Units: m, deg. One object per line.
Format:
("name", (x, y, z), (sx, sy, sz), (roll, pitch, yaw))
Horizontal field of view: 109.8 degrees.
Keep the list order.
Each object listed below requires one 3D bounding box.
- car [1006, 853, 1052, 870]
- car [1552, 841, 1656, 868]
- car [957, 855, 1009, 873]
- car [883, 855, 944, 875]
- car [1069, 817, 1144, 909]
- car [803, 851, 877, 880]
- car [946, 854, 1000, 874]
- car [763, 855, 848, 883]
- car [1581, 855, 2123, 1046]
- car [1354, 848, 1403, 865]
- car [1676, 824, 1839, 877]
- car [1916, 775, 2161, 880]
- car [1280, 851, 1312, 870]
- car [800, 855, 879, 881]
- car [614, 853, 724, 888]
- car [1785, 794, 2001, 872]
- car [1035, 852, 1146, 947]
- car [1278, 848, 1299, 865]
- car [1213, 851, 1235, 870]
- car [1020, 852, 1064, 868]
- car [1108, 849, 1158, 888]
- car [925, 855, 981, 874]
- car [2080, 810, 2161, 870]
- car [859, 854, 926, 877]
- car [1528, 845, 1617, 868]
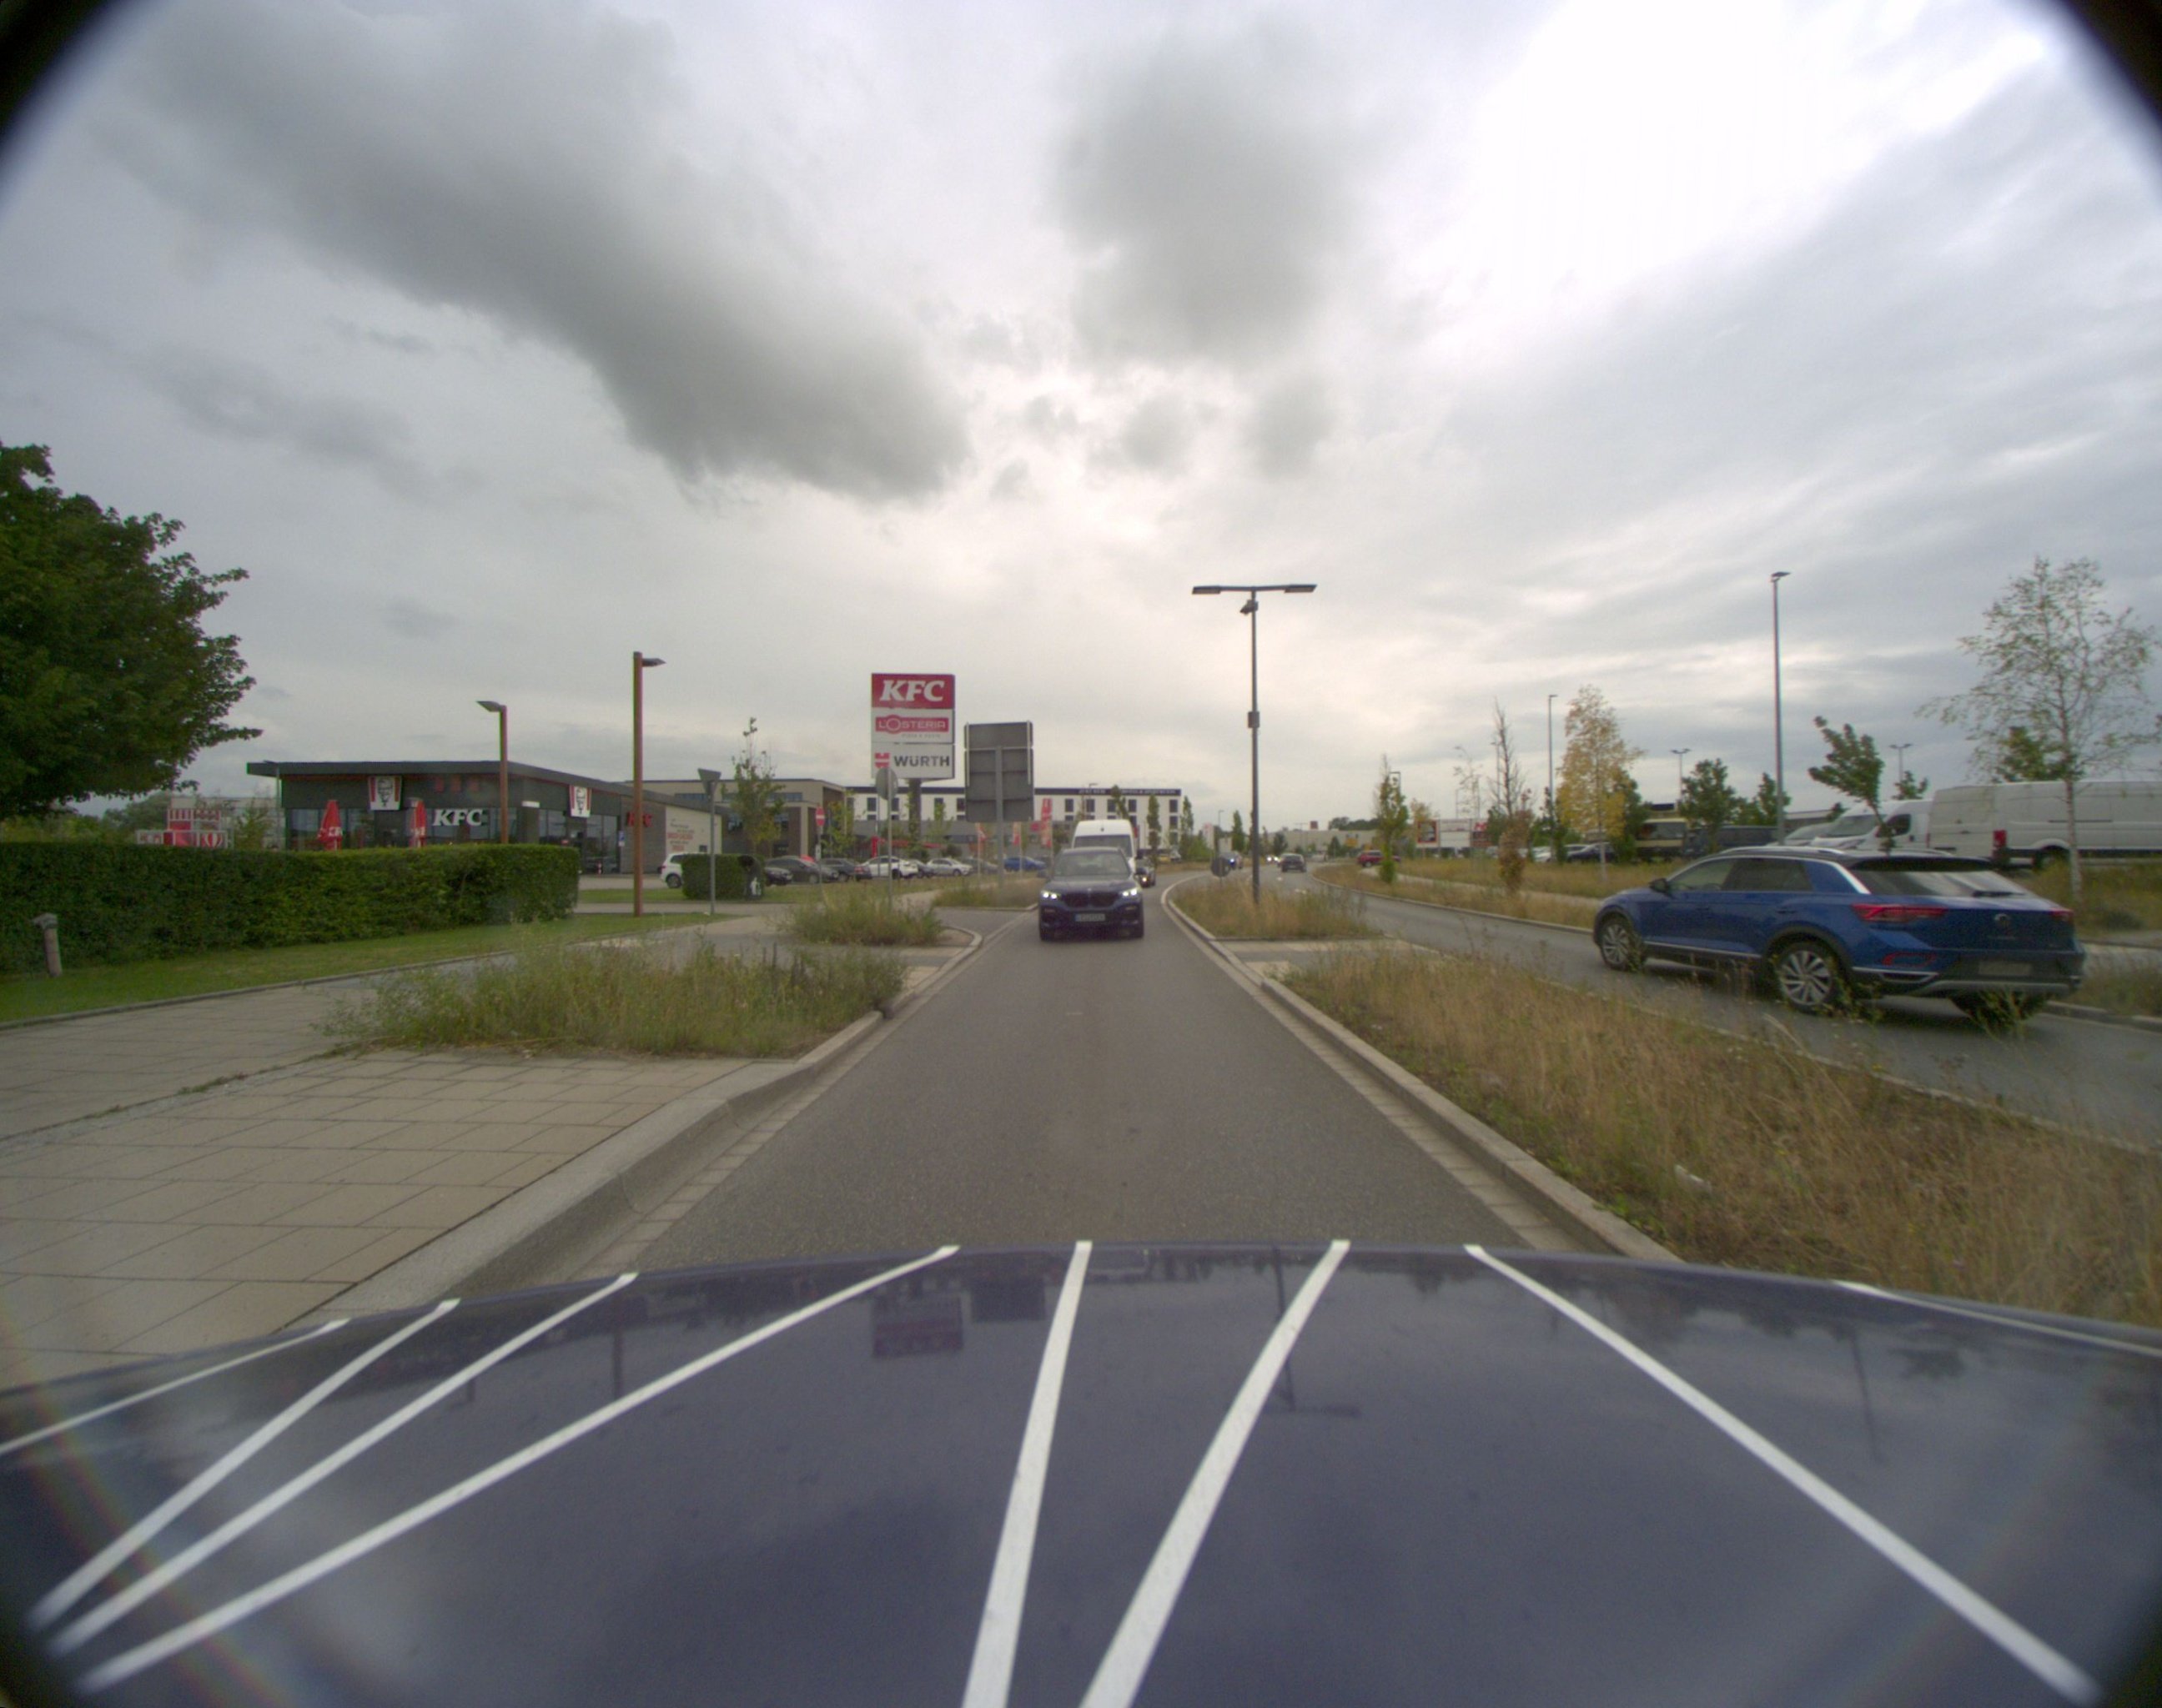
("car", (-5.137, 0.713, 75.015), (3.992, 1.477, 1.849), (-2, 1, 18))
("car", (33.249, 0.017, 48.446), (5.049, 1.646, 2.066), (-1, 0, 11))
("car", (-8.479, 0.874, 65.718), (3.992, 1.477, 1.849), (-1, 0, 14))
("car", (-12.494, 0.815, 56.678), (3.994, 1.477, 1.848), (-1, 0, 9))
("car", (0.736, 0.257, 23.927), (2.026, 2.513, 6.105), (-1, 0, 1))
("car", (-15.191, 0.719, 48.033), (3.994, 1.602, 1.848), (-2, 1, 10))
("car", (-8.984, 0.822, 63.374), (3.993, 1.477, 1.849), (-2, 1, 14))
("car", (-15.223, 0.813, 42.021), (3.994, 1.477, 1.849), (-1, 0, 10))
("car", (7.434, 0.773, 8.035), (1.733, 1.504, 4.000), (-1, 0, 1))
("car", (28.475, 0.195, 72.816), (3.999, 1.455, 1.735), (-2, 1, -6))
("car", (29.659, -0.127, 33.462), (5.050, 2.210, 2.066), (-1, 0, 9))
("car", (27.573, -0.738, 20.947), (6.412, 2.609, 2.065), (-2, 1, 5))
("car", (17.362, 0.528, 61.295), (1.730, 1.484, 4.007), (0, 0, 27))
("car", (-14.189, 0.824, 44.794), (3.994, 1.477, 1.849), (-1, 0, 10))
("car", (-18.822, 0.728, 34.836), (3.996, 1.519, 1.847), (-1, 0, 2))
("car", (27.575, -0.707, 25.935), (5.053, 2.359, 2.064), (-2, 1, 2))
("car", (0.183, 0.773, 14.818), (1.867, 1.598, 4.000), (-1, 0, 1))
("car", (22.293, 0.292, 81.607), (1.996, 1.660, 4.005), (-2, -1, 17))
("car", (13.468, 0.599, 71.521), (1.860, 1.660, 4.004), (-2, -1, 12))
("car", (-3.984, 0.601, 77.223), (3.992, 1.477, 1.849), (-2, 1, 18))
("car", (2.538, 0.682, 36.279), (1.997, 1.660, 4.003), (-2, -1, 8))
("car", (-10.278, 0.819, 61.239), (3.992, 1.477, 1.849), (-1, 0, 14))
("car", (43.597, -0.588, 29.864), (2.063, 2.359, 5.057), (-2, 1, 2))
("car", (-12.799, 0.780, 51.660), (3.994, 1.513, 1.849), (-1, 0, 10))
("car", (35.886, 0.176, 55.631), (5.049, 1.646, 2.066), (-1, 0, 11))
